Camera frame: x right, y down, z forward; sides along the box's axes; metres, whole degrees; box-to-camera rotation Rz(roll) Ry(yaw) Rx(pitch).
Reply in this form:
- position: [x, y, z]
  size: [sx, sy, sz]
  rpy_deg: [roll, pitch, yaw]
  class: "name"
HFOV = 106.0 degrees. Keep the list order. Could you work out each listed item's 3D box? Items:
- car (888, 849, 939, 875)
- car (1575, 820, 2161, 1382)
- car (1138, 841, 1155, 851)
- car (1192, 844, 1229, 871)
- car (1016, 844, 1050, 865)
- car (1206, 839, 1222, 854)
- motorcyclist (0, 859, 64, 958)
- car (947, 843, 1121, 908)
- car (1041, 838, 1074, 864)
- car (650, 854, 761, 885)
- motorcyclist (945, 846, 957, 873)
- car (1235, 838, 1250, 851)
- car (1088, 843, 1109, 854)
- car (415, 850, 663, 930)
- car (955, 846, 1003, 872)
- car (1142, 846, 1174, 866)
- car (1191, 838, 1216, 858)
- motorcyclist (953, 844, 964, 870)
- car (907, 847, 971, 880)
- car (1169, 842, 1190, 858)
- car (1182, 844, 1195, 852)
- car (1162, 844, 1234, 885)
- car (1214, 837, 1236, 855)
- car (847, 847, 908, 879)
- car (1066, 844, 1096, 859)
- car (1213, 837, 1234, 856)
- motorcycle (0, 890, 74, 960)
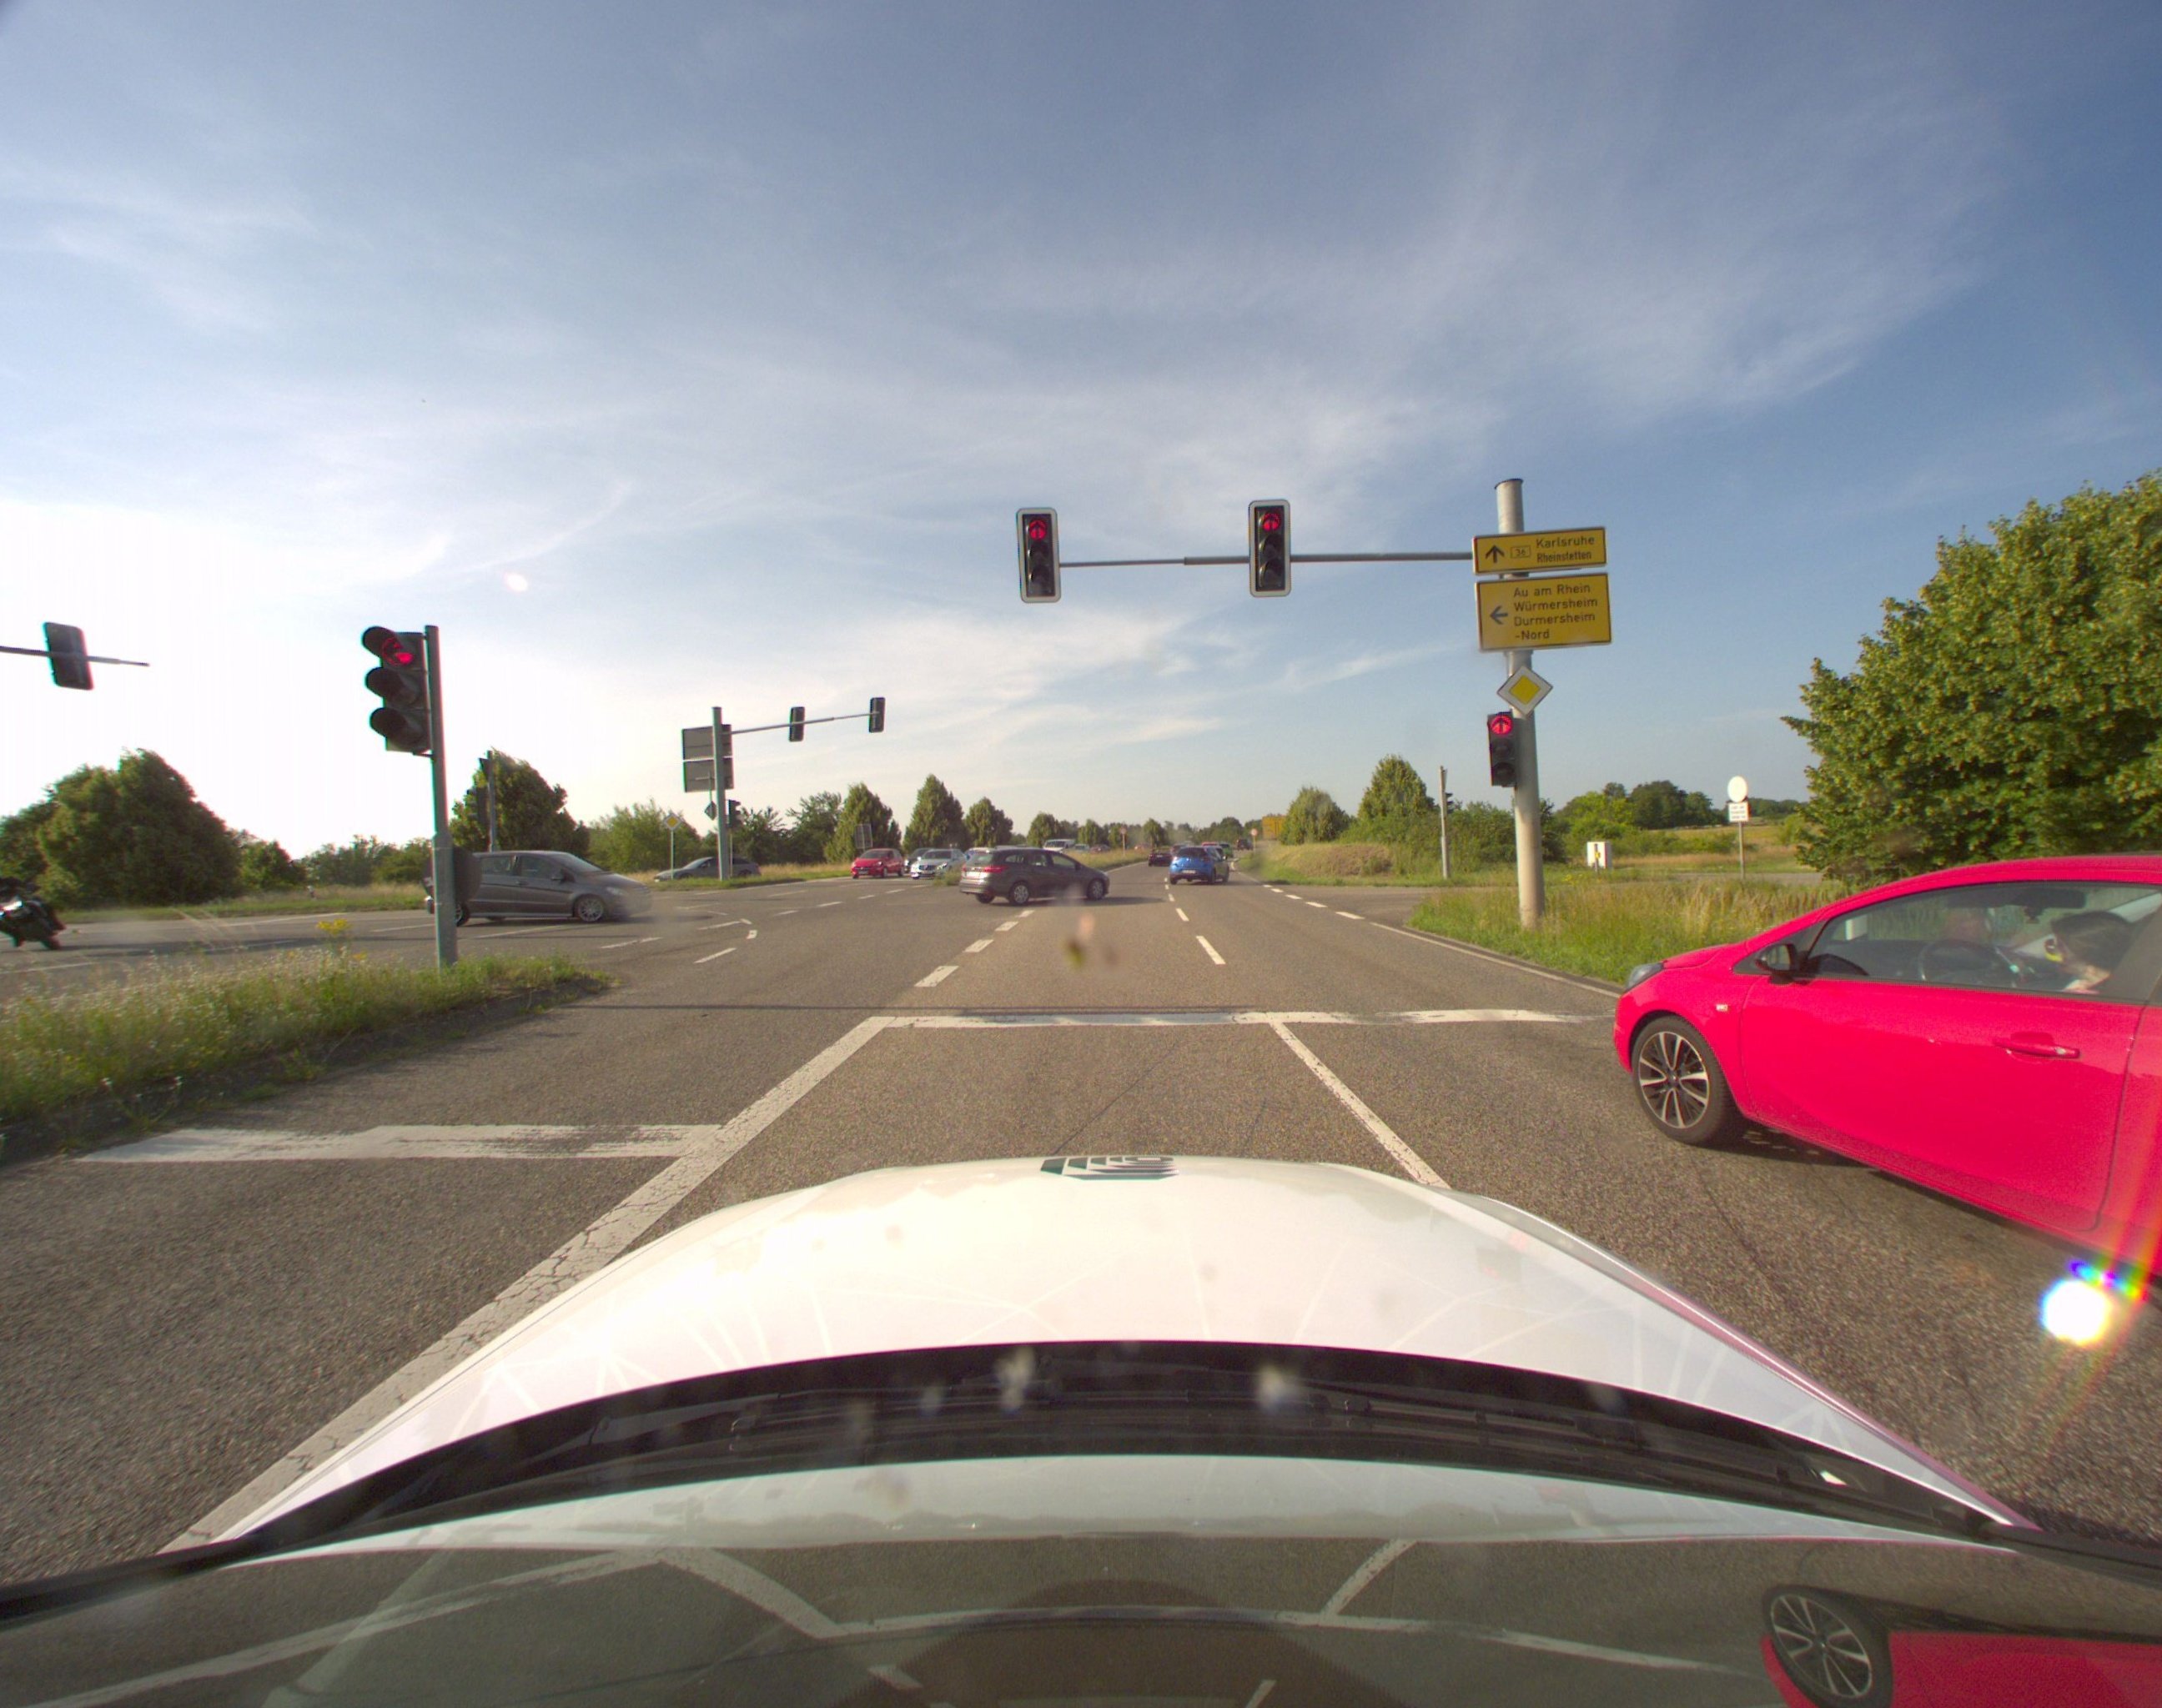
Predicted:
- position: [-9.980, 0.435, 48.803]
  size: [1.777, 1.433, 4.059]
  rpy_deg: [-2, 0, 7]
  class: "car"
- position: [3.804, 0.659, 2.935]
  size: [1.692, 1.549, 3.748]
  rpy_deg: [-2, 0, -1]
  class: "car"
- position: [10.255, -1.267, 126.974]
  size: [1.772, 1.385, 4.069]
  rpy_deg: [-2, 0, 16]
  class: "car"
- position: [7.289, 0.230, 45.981]
  size: [1.904, 1.416, 3.803]
  rpy_deg: [-1, -1, 7]
  class: "car"
- position: [-3.473, 0.019, 60.030]
  size: [1.777, 1.385, 4.059]
  rpy_deg: [-2, 0, 7]
  class: "car"
- position: [17.362, -0.948, 106.358]
  size: [1.898, 1.734, 4.287]
  rpy_deg: [-1, -1, 8]
  class: "car"
- position: [-19.479, 0.972, 14.912]
  size: [0.912, 1.758, 0.822]
  rpy_deg: [-1, 0, -41]
  class: "motorcyclist"
- position: [-1.213, 0.529, 22.299]
  size: [4.554, 1.565, 1.795]
  rpy_deg: [-1, 0, -39]
  class: "car"
- position: [-1.930, -0.236, 69.309]
  size: [1.913, 2.078, 4.255]
  rpy_deg: [-2, 0, 10]
  class: "car"
- position: [-18.065, 0.743, 39.384]
  size: [1.422, 1.292, 4.703]
  rpy_deg: [-2, 0, 37]
  class: "car"
- position: [-8.557, 0.332, 53.742]
  size: [0.660, 1.747, 0.605]
  rpy_deg: [-2, 0, -1]
  class: "motorcyclist"
- position: [24.386, -1.428, 123.177]
  size: [1.898, 1.734, 4.287]
  rpy_deg: [-1, -1, 8]
  class: "car"
- position: [2.418, -0.710, 109.622]
  size: [1.772, 1.385, 4.069]
  rpy_deg: [-2, 0, 16]
  class: "car"
- position: [-11.797, 0.760, 17.984]
  size: [4.176, 1.605, 1.786]
  rpy_deg: [-1, -1, -6]
  class: "car"
- position: [-5.942, 0.266, 47.832]
  size: [1.777, 1.433, 4.317]
  rpy_deg: [-2, 0, 7]
  class: "car"
- position: [5.519, 0.182, 57.749]
  size: [1.897, 1.323, 4.290]
  rpy_deg: [-1, -1, 10]
  class: "car"
- position: [10.128, -0.452, 67.565]
  size: [1.885, 1.565, 4.285]
  rpy_deg: [-1, -1, 6]
  class: "car"
- position: [-8.514, 0.204, 56.599]
  size: [0.660, 1.817, 0.605]
  rpy_deg: [-2, 0, -1]
  class: "motorcyclist"
- position: [-6.845, 0.421, 39.701]
  size: [1.777, 1.488, 4.660]
  rpy_deg: [-2, 0, 7]
  class: "car"
- position: [9.471, -0.347, 78.255]
  size: [1.825, 1.377, 4.289]
  rpy_deg: [-1, -1, 9]
  class: "car"
- position: [19.371, -1.093, 146.673]
  size: [1.772, 1.385, 4.069]
  rpy_deg: [-2, 0, 16]
  class: "car"
- position: [4.680, 0.379, 32.089]
  size: [1.757, 1.492, 4.007]
  rpy_deg: [-1, 0, 23]
  class: "car"
- position: [15.604, -0.851, 88.507]
  size: [1.900, 1.916, 4.283]
  rpy_deg: [-1, -1, 4]
  class: "car"
- position: [-10.402, 0.419, 41.850]
  size: [1.711, 1.488, 3.813]
  rpy_deg: [-2, 0, 7]
  class: "car"
- position: [-0.012, -0.245, 78.226]
  size: [1.772, 1.385, 4.069]
  rpy_deg: [-2, 0, 16]
  class: "car"
- position: [14.167, -0.696, 80.927]
  size: [1.897, 1.800, 4.290]
  rpy_deg: [-1, -1, 10]
  class: "car"
- position: [-19.449, 1.273, 14.879]
  size: [0.946, 1.124, 2.145]
  rpy_deg: [-1, 0, -41]
  class: "motorcycle"
